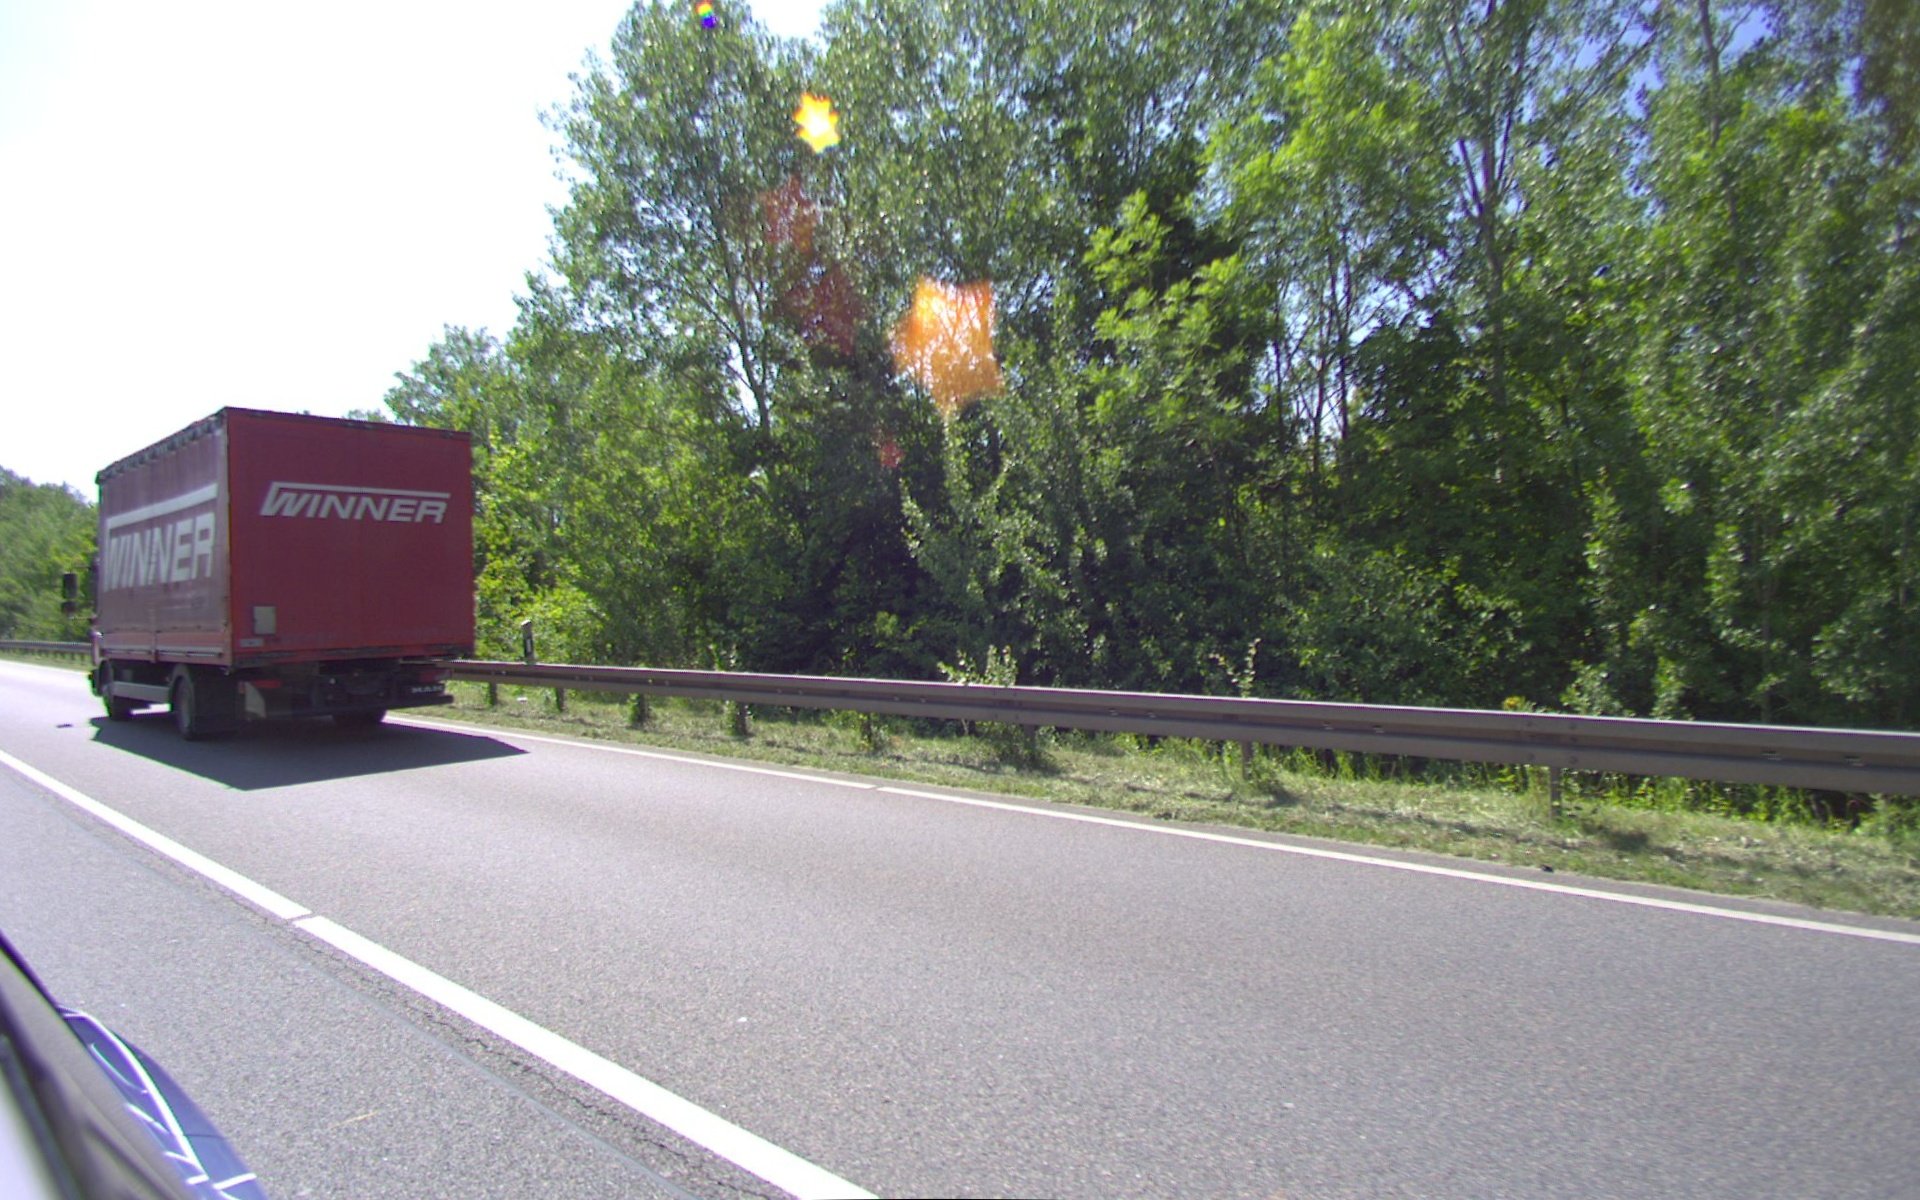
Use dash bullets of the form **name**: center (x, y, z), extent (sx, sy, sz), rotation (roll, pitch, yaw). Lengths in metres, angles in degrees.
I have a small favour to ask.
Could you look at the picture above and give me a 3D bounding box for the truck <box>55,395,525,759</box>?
- **truck**: center (-9.975, -0.161, 14.469), extent (8.999, 3.728, 3.160), rotation (-2, -1, 40)
